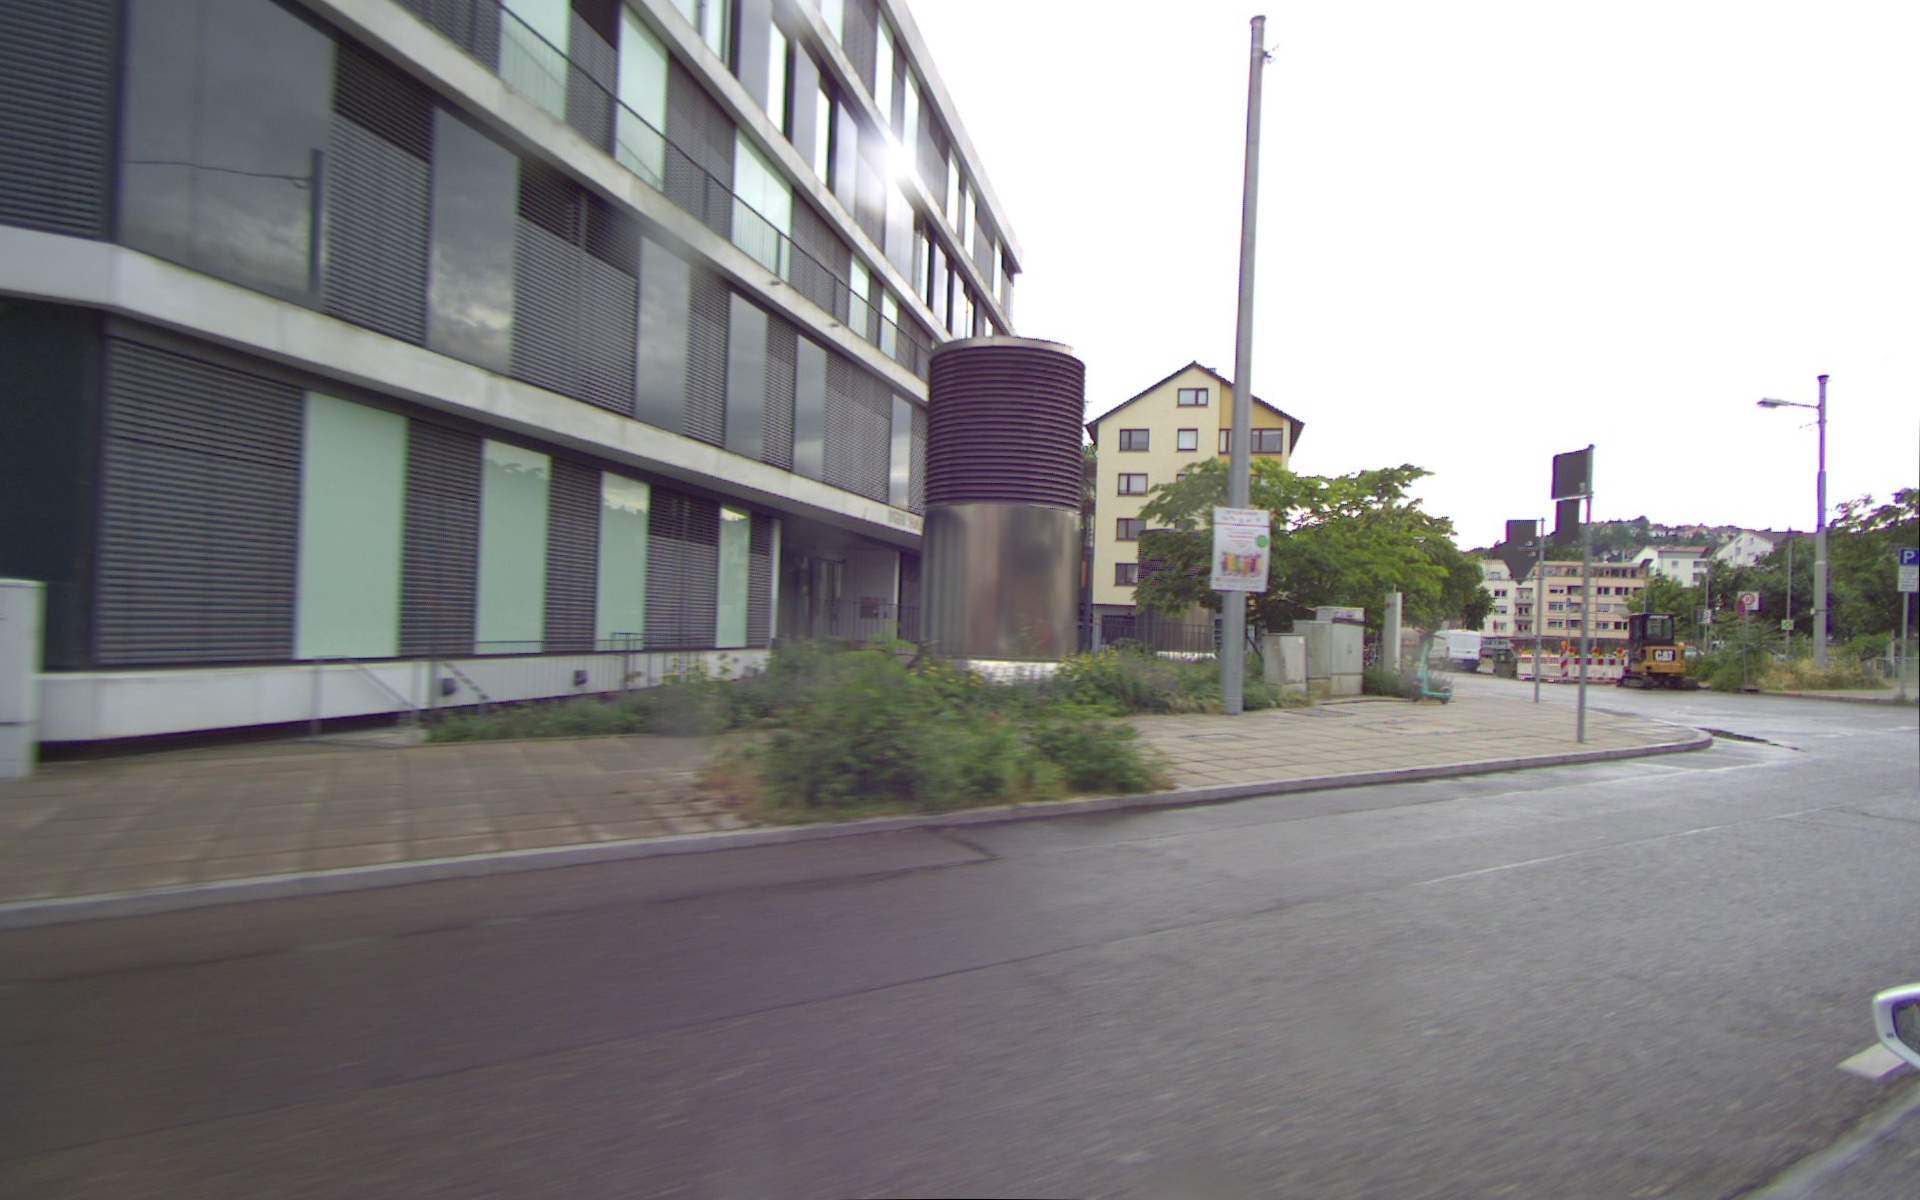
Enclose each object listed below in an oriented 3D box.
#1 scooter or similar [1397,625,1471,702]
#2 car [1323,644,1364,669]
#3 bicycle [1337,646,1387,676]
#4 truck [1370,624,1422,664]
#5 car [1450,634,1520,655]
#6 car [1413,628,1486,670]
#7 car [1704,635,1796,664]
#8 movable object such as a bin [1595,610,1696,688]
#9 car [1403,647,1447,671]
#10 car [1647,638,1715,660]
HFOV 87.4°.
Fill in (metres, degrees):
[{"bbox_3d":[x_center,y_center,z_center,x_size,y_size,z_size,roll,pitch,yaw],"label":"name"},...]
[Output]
[{"bbox_3d":[8.151,1.089,17.263,1.217,1.265,0.494,3,0,-30],"label":"scooter or similar"},{"bbox_3d":[24.467,3.599,64.200,1.763,1.530,4.003,-1,-2,12],"label":"car"},{"bbox_3d":[16.712,2.520,41.778,1.771,1.122,0.714,3,0,36],"label":"bicycle"},{"bbox_3d":[34.056,3.456,78.616,2.724,2.970,5.294,-1,-2,12],"label":"truck"},{"bbox_3d":[44.247,3.793,84.779,4.806,1.646,2.127,0,-3,14],"label":"car"},{"bbox_3d":[30.492,3.038,62.768,2.620,2.445,5.738,-1,-2,11],"label":"car"},{"bbox_3d":[54.647,3.423,69.594,4.597,1.858,2.001,0,-1,11],"label":"car"},{"bbox_3d":[23.782,1.630,35.061,1.638,2.492,5.289,1,-1,20],"label":"movable object such as a bin"},{"bbox_3d":[31.499,3.982,68.153,1.763,1.530,4.003,-1,-2,11],"label":"car"},{"bbox_3d":[56.967,3.832,79.427,3.919,1.647,1.801,0,-1,11],"label":"car"}]
